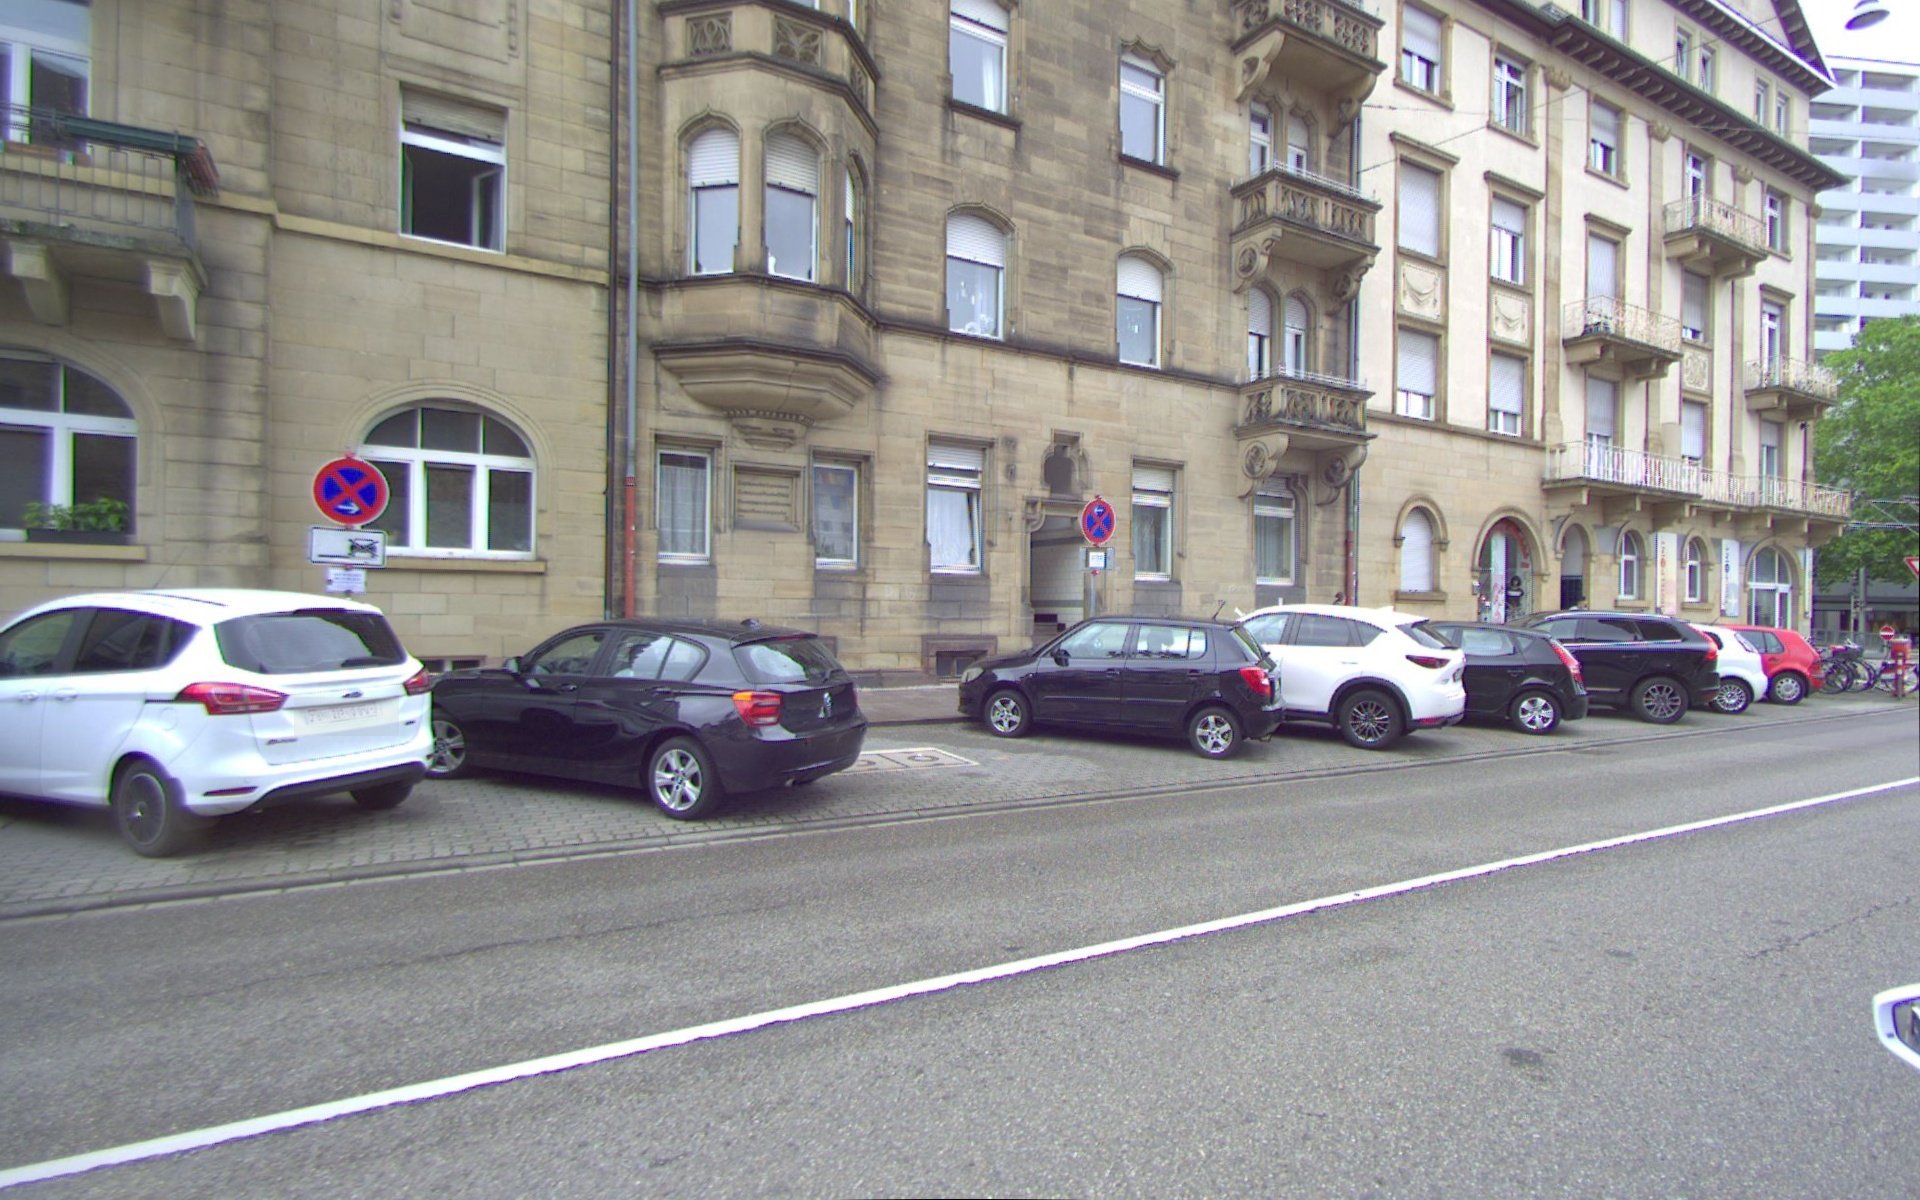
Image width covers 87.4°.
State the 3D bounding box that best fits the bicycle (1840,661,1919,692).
[{"bbox_3d":[21.304,1.762,22.717,1.017,0.451,1.876,-1,6,-31],"label":"bicycle"}]

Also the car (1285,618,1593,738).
[{"bbox_3d":[6.994,1.069,15.011,3.923,1.514,1.731,1,0,23],"label":"car"}]

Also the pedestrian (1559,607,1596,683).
[{"bbox_3d":[14.926,1.078,24.280,0.544,1.809,0.564,1,-1,-29],"label":"pedestrian"}]

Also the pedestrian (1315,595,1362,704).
[{"bbox_3d":[7.027,0.904,18.659,0.544,1.984,0.616,1,-1,-29],"label":"pedestrian"}]

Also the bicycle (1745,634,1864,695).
[{"bbox_3d":[18.451,1.382,22.001,0.437,1.050,1.876,0,5,-31],"label":"bicycle"}]

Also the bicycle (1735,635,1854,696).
[{"bbox_3d":[18.002,1.390,21.719,0.437,1.050,1.876,0,5,-31],"label":"bicycle"}]

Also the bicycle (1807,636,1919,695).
[{"bbox_3d":[20.265,1.445,22.483,0.437,1.050,1.876,0,5,-31],"label":"bicycle"}]

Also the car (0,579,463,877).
[{"bbox_3d":[-5.727,0.697,7.201,3.922,1.575,1.702,2,2,22],"label":"car"}]

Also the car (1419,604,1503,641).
[{"bbox_3d":[12.220,0.552,24.491,1.991,0.845,0.909,2,-1,-31],"label":"car"}]

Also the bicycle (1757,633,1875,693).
[{"bbox_3d":[19.006,1.373,22.349,0.437,1.050,1.876,0,5,-31],"label":"bicycle"}]

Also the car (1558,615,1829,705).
[{"bbox_3d":[14.252,1.125,19.744,3.919,1.492,1.685,2,1,12],"label":"car"}]

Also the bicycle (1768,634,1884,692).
[{"bbox_3d":[19.529,1.402,22.700,0.437,1.050,1.876,0,5,-31],"label":"bicycle"}]

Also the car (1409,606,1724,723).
[{"bbox_3d":[9.806,0.987,16.626,4.141,1.673,1.732,1,0,18],"label":"car"}]

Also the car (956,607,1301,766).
[{"bbox_3d":[2.002,0.918,11.896,3.738,1.517,1.569,2,0,22],"label":"car"}]

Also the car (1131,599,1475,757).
[{"bbox_3d":[4.471,0.896,13.285,3.935,1.746,1.835,1,0,36],"label":"car"}]

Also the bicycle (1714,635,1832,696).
[{"bbox_3d":[17.264,1.375,21.388,0.436,1.050,1.879,1,4,-26],"label":"bicycle"}]

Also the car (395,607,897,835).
[{"bbox_3d":[-2.669,0.850,8.479,3.924,1.436,1.660,2,0,25],"label":"car"}]

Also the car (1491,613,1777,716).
[{"bbox_3d":[11.937,1.089,18.080,3.920,1.492,1.564,3,2,18],"label":"car"}]
